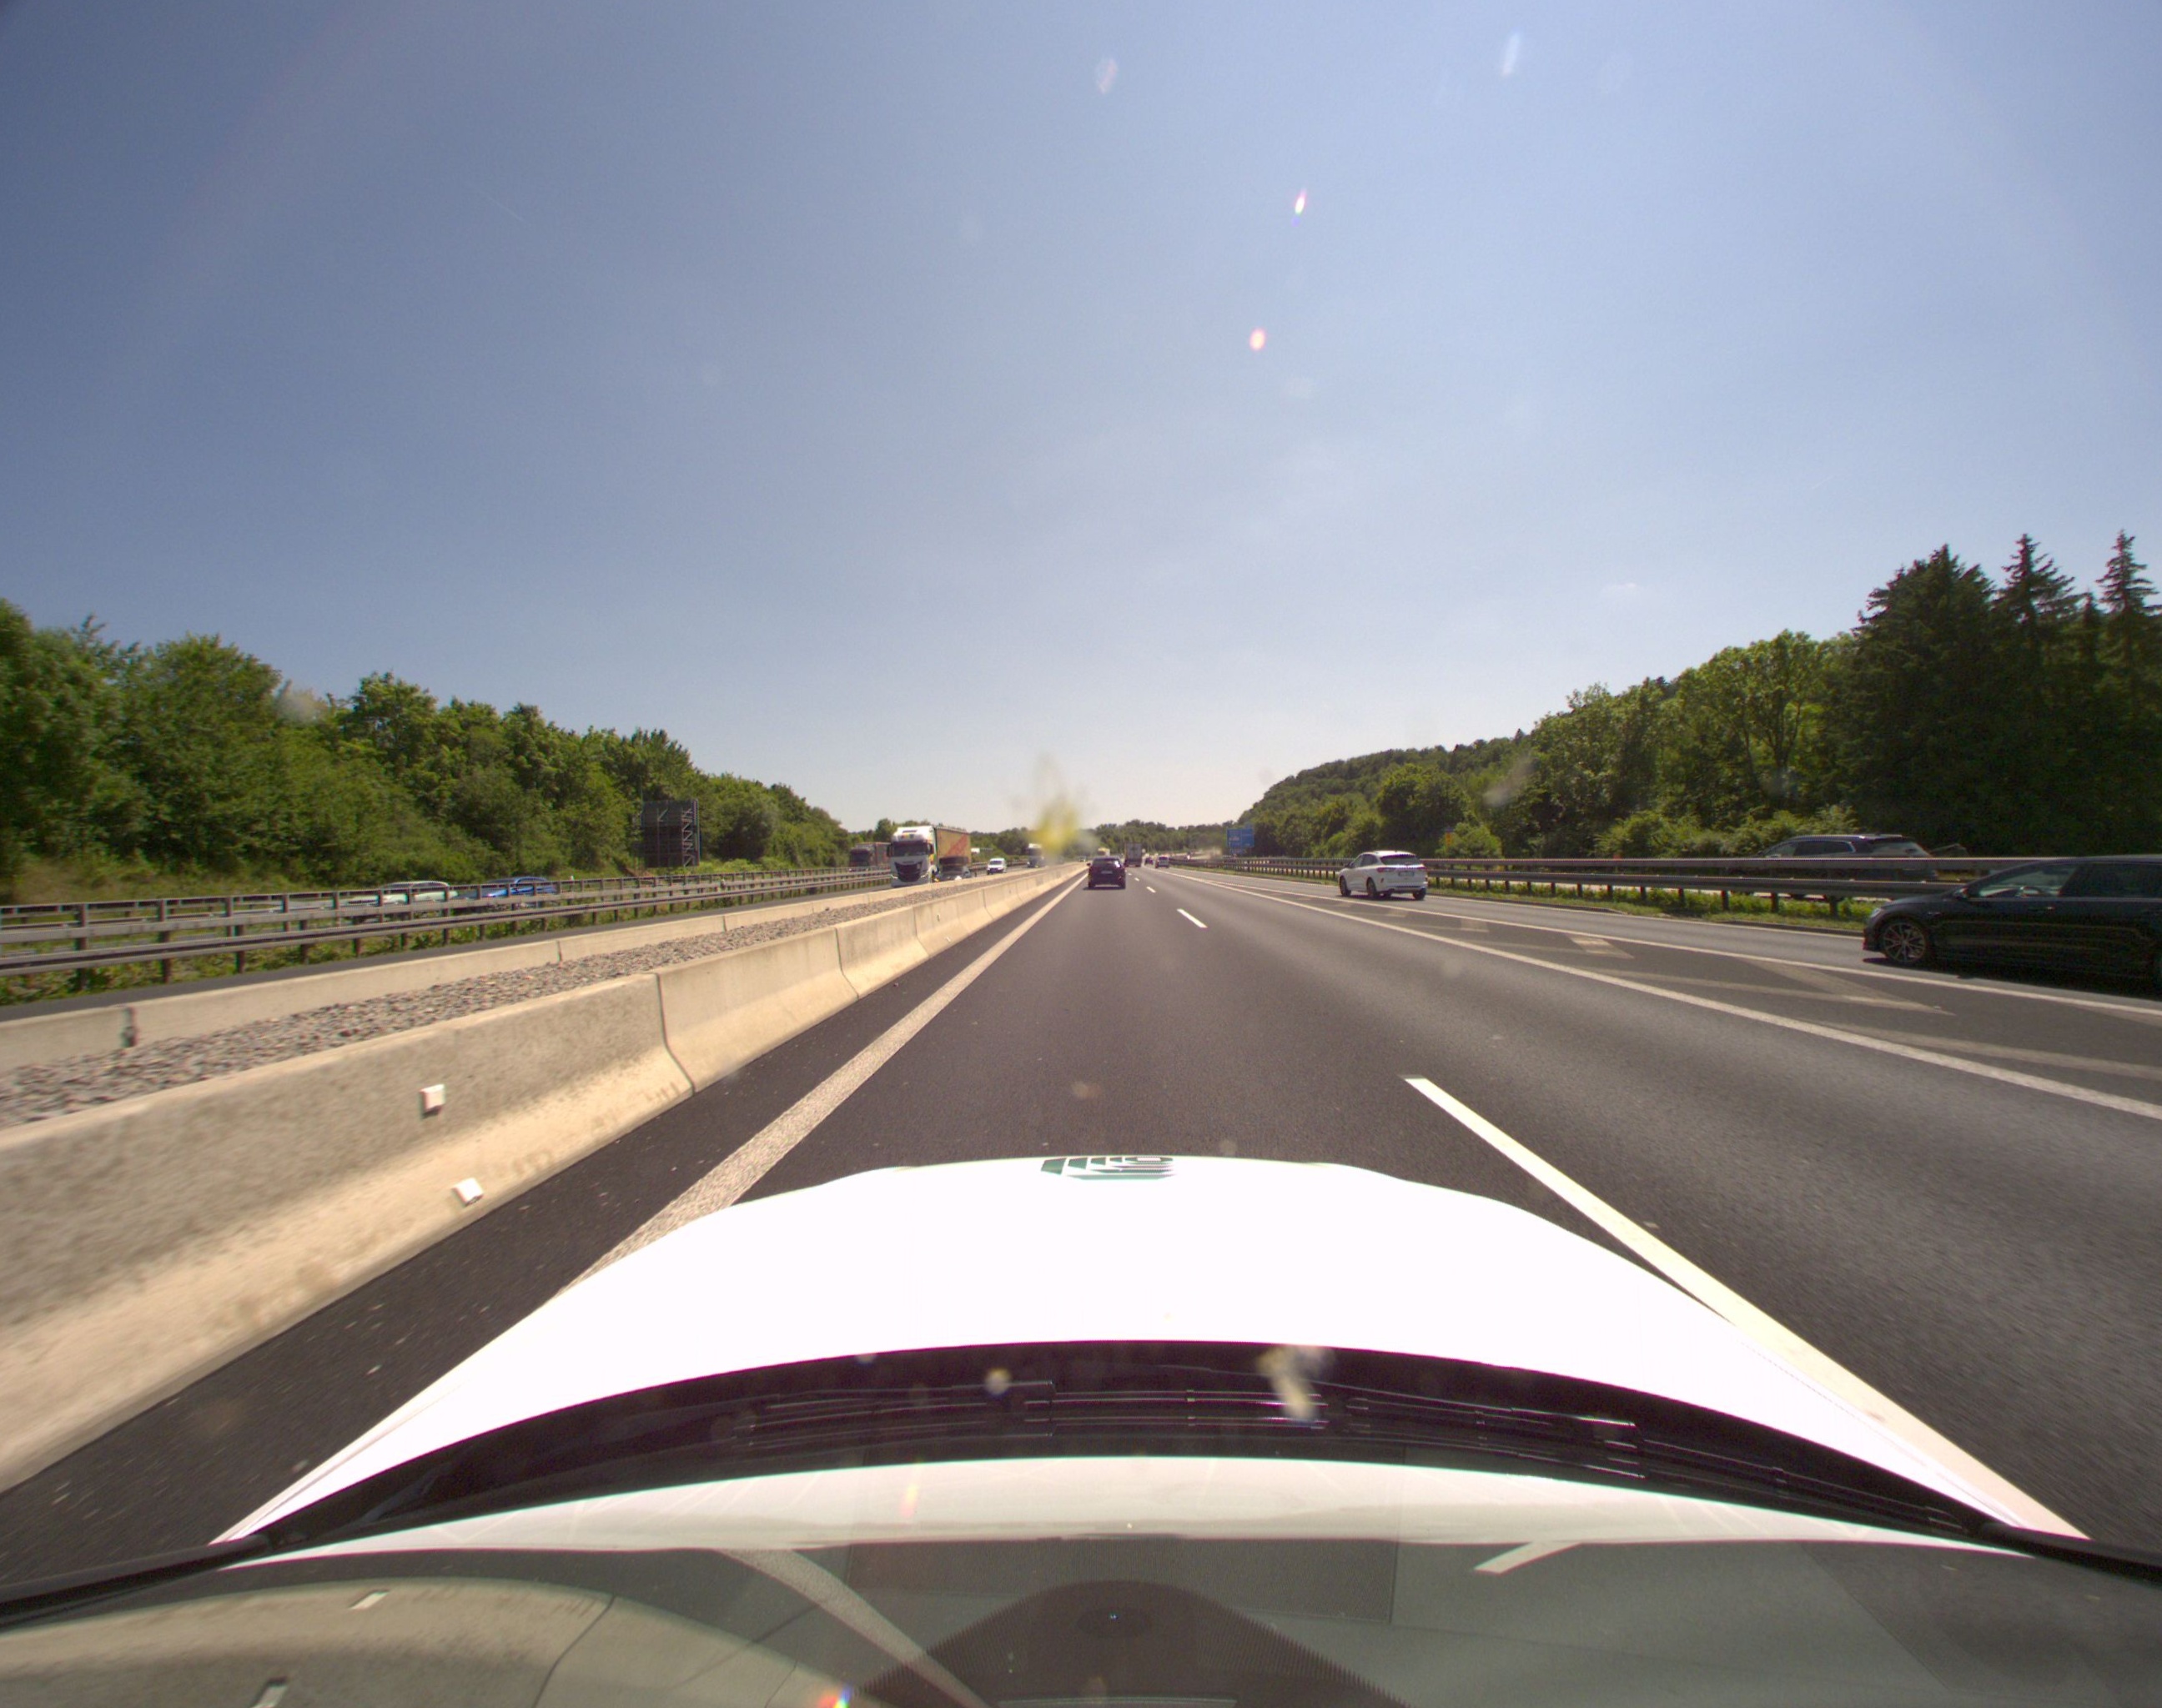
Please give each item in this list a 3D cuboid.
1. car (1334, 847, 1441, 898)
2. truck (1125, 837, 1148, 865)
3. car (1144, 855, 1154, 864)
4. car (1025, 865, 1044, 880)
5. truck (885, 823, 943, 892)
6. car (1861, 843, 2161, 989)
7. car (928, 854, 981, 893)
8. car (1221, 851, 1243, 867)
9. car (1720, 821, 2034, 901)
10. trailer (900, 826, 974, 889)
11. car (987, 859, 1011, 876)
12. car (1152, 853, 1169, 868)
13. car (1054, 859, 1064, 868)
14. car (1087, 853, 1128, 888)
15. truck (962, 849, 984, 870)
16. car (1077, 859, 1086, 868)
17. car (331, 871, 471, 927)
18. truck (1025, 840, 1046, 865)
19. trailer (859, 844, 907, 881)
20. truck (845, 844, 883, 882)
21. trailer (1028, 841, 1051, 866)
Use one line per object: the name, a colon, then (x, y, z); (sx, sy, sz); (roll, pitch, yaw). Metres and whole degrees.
car: (10.687, 0.616, 28.807); (1.988, 1.662, 4.464); (0, -1, -2)
truck: (9.265, -0.475, 134.548); (3.015, 4.418, 12.043); (0, -1, 8)
car: (14.846, 1.141, 179.010); (1.986, 2.014, 4.002); (0, -1, 2)
car: (-5.796, 2.268, 101.848); (1.977, 1.826, 4.826); (0, -1, 0)
truck: (-10.780, 0.217, 52.937); (2.696, 4.288, 4.554); (0, -1, 1)
car: (11.500, 0.623, 9.048); (1.790, 1.435, 3.962); (0, -1, -2)
car: (-6.971, 1.032, 45.445); (1.911, 2.013, 5.348); (-2, 0, 2)
car: (19.432, 0.613, 104.770); (1.987, 2.013, 3.999); (-2, 0, 0)
car: (18.915, 0.180, 19.896); (1.989, 1.662, 5.619); (0, -1, -4)
trailer: (-10.579, 0.305, 61.594); (2.657, 4.273, 13.819); (0, -1, 2)
car: (-9.086, 1.448, 90.522); (1.733, 1.826, 4.911); (0, -1, 6)
car: (11.625, 0.931, 118.931); (1.987, 2.013, 3.999); (-3, 0, 0)
car: (-4.597, 2.023, 171.568); (1.986, 2.014, 4.486); (0, -1, 2)
car: (1.273, 0.794, 40.298); (1.774, 1.577, 3.998); (-2, 0, -1)
truck: (-21.612, 1.173, 163.647); (3.207, 4.045, 6.642); (0, -1, 2)
car: (0.149, 2.271, 191.014); (2.043, 2.014, 4.956); (0, -1, 1)
car: (-26.431, 1.687, 31.855); (1.986, 2.014, 4.002); (0, -1, 2)
truck: (-7.315, -0.150, 131.559); (2.917, 3.973, 5.900); (0, -1, 2)
trailer: (-24.537, 1.050, 101.747); (2.783, 4.434, 11.658); (0, -1, 2)
truck: (-24.826, 1.032, 93.391); (2.799, 4.272, 5.000); (0, -1, 1)
trailer: (-6.989, -0.001, 140.077); (2.898, 4.045, 12.068); (0, -1, 2)
